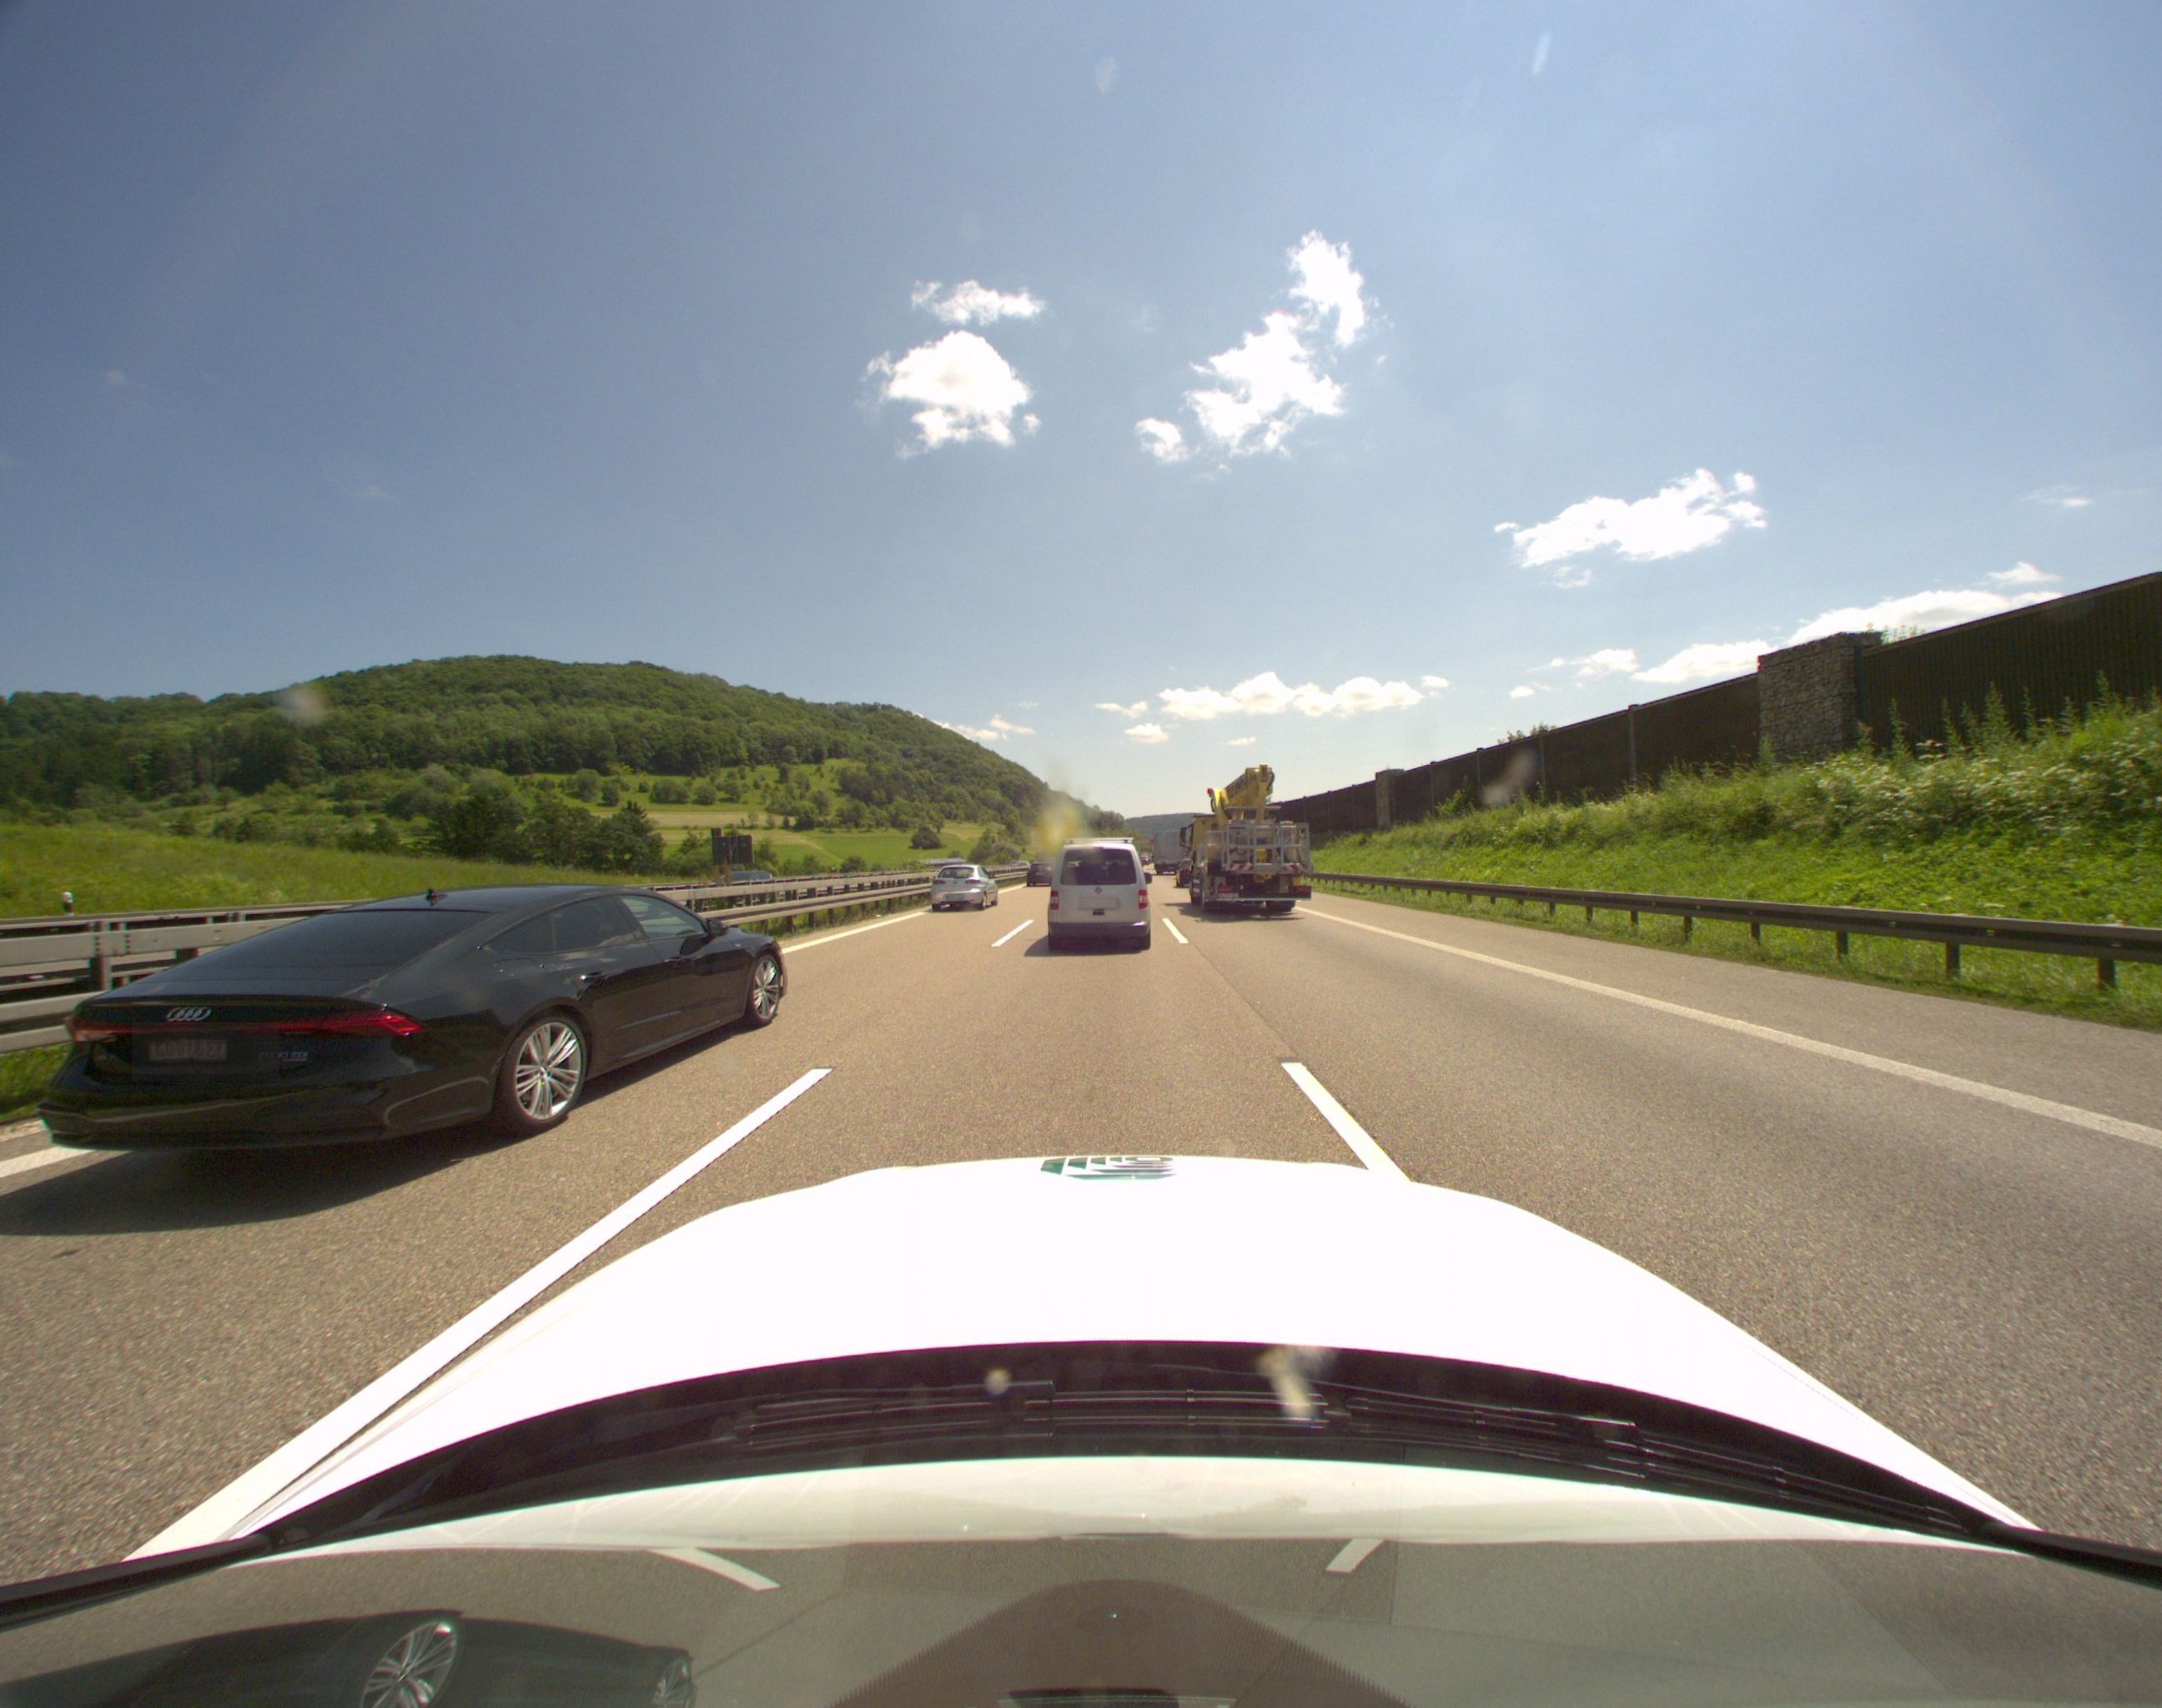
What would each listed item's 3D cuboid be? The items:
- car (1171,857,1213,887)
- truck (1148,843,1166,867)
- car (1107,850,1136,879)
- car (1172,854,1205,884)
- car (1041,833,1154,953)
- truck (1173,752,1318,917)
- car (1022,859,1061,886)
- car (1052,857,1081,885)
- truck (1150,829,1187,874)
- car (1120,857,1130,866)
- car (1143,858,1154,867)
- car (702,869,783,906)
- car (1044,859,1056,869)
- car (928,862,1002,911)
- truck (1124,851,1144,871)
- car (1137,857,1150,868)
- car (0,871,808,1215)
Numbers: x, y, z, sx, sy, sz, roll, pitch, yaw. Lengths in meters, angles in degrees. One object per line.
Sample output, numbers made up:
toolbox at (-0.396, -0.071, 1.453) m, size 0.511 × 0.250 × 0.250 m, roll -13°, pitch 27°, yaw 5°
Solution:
car at (5.754, 0.902, 42.510) m, size 1.779 × 1.458 × 3.772 m, roll -1°, pitch 0°, yaw 2°
truck at (10.615, 0.127, 113.971) m, size 1.986 × 3.251 × 6.801 m, roll 0°, pitch -1°, yaw 2°
car at (2.882, 0.732, 58.981) m, size 1.986 × 1.975 × 4.001 m, roll -1°, pitch 0°, yaw 2°
car at (7.700, 1.044, 58.508) m, size 1.985 × 2.014 × 4.003 m, roll -1°, pitch 0°, yaw 3°
car at (0.326, 0.637, 14.952) m, size 1.749 × 1.868 × 4.001 m, roll -1°, pitch 0°, yaw 2°
truck at (4.469, -0.441, 24.075) m, size 2.694 × 3.942 × 8.724 m, roll -1°, pitch 0°, yaw 2°
car at (-2.272, 1.069, 47.903) m, size 1.918 × 1.499 × 4.001 m, roll -1°, pitch 0°, yaw 2°
car at (-1.076, 1.298, 63.760) m, size 1.986 × 2.014 × 4.001 m, roll -2°, pitch 0°, yaw 1°
truck at (7.911, -0.139, 74.609) m, size 2.928 × 3.823 × 8.242 m, roll -1°, pitch -1°, yaw 3°
car at (8.750, 1.561, 161.991) m, size 1.985 × 1.806 × 4.002 m, roll -1°, pitch -1°, yaw 3°
car at (13.171, 1.645, 158.958) m, size 1.985 × 1.806 × 4.002 m, roll -1°, pitch -1°, yaw 3°
car at (-14.063, 1.374, 34.037) m, size 1.684 × 1.368 × 3.743 m, roll -1°, pitch 0°, yaw 2°
car at (-6.594, 2.063, 171.985) m, size 2.052 × 1.941 × 4.663 m, roll -1°, pitch 0°, yaw 3°
car at (-3.685, 0.997, 26.458) m, size 1.689 × 1.445 × 3.863 m, roll -1°, pitch 0°, yaw 2°
truck at (6.936, 0.946, 107.892) m, size 2.381 × 2.541 × 5.941 m, roll -1°, pitch 0°, yaw 2°
car at (10.631, 1.490, 138.960) m, size 1.985 × 1.806 × 4.002 m, roll -1°, pitch -1°, yaw 3°
car at (-3.863, 0.882, 6.042) m, size 1.794 × 1.390 × 4.972 m, roll -1°, pitch 0°, yaw 2°
